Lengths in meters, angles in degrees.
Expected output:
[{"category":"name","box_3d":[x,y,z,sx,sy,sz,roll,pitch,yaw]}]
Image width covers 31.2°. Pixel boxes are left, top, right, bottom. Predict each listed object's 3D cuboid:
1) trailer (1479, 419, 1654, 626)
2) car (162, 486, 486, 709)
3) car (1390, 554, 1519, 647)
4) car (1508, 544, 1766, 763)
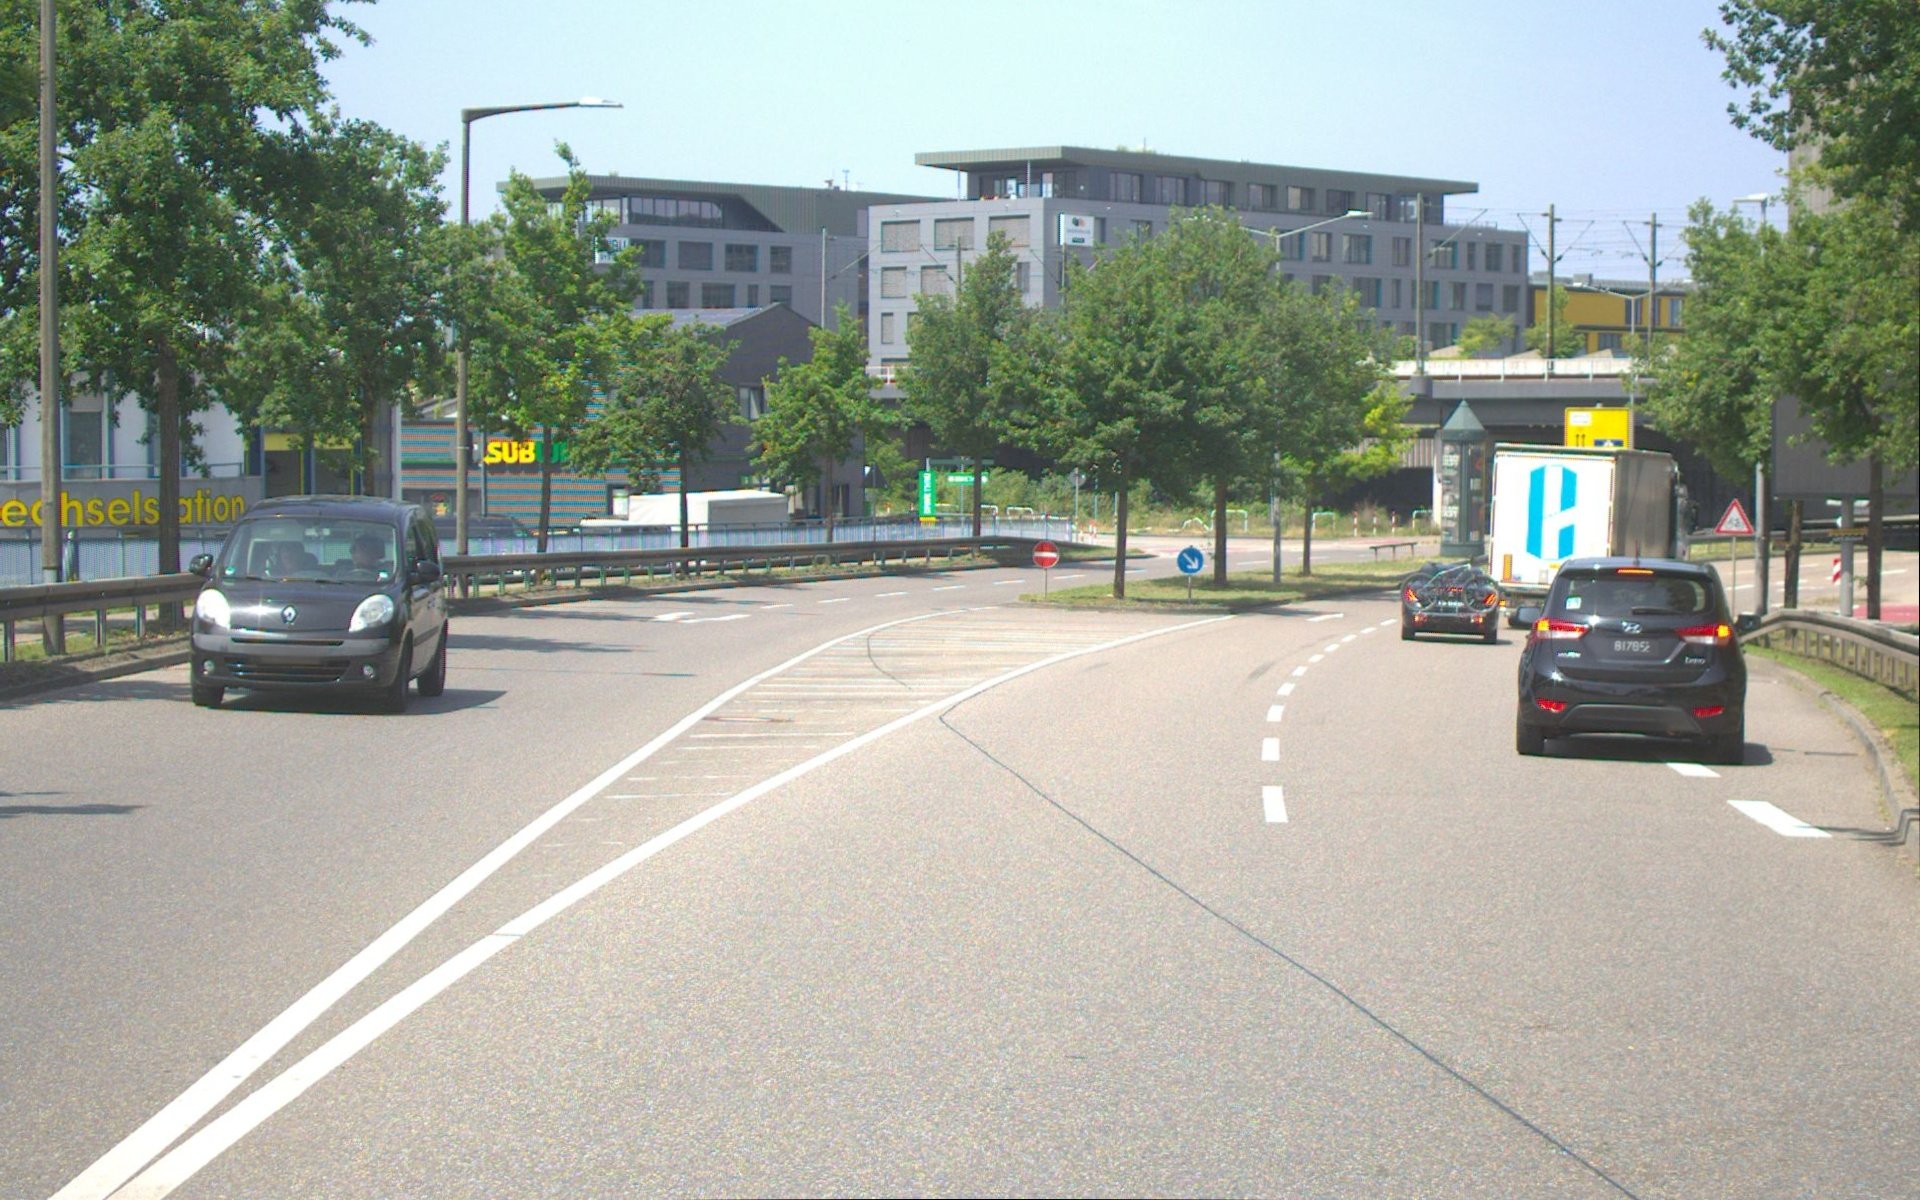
[{"category":"trailer","box_3d":[14.250,-1.971,79.801,3.080,4.353,14.767,1,3,13]},{"category":"car","box_3d":[-5.436,-0.063,29.910,1.807,1.753,4.252,1,1,3]},{"category":"car","box_3d":[9.174,-0.019,63.559,1.958,1.628,4.277,0,1,14]},{"category":"car","box_3d":[5.624,0.370,28.222,1.768,1.593,4.075,2,2,15]}]
